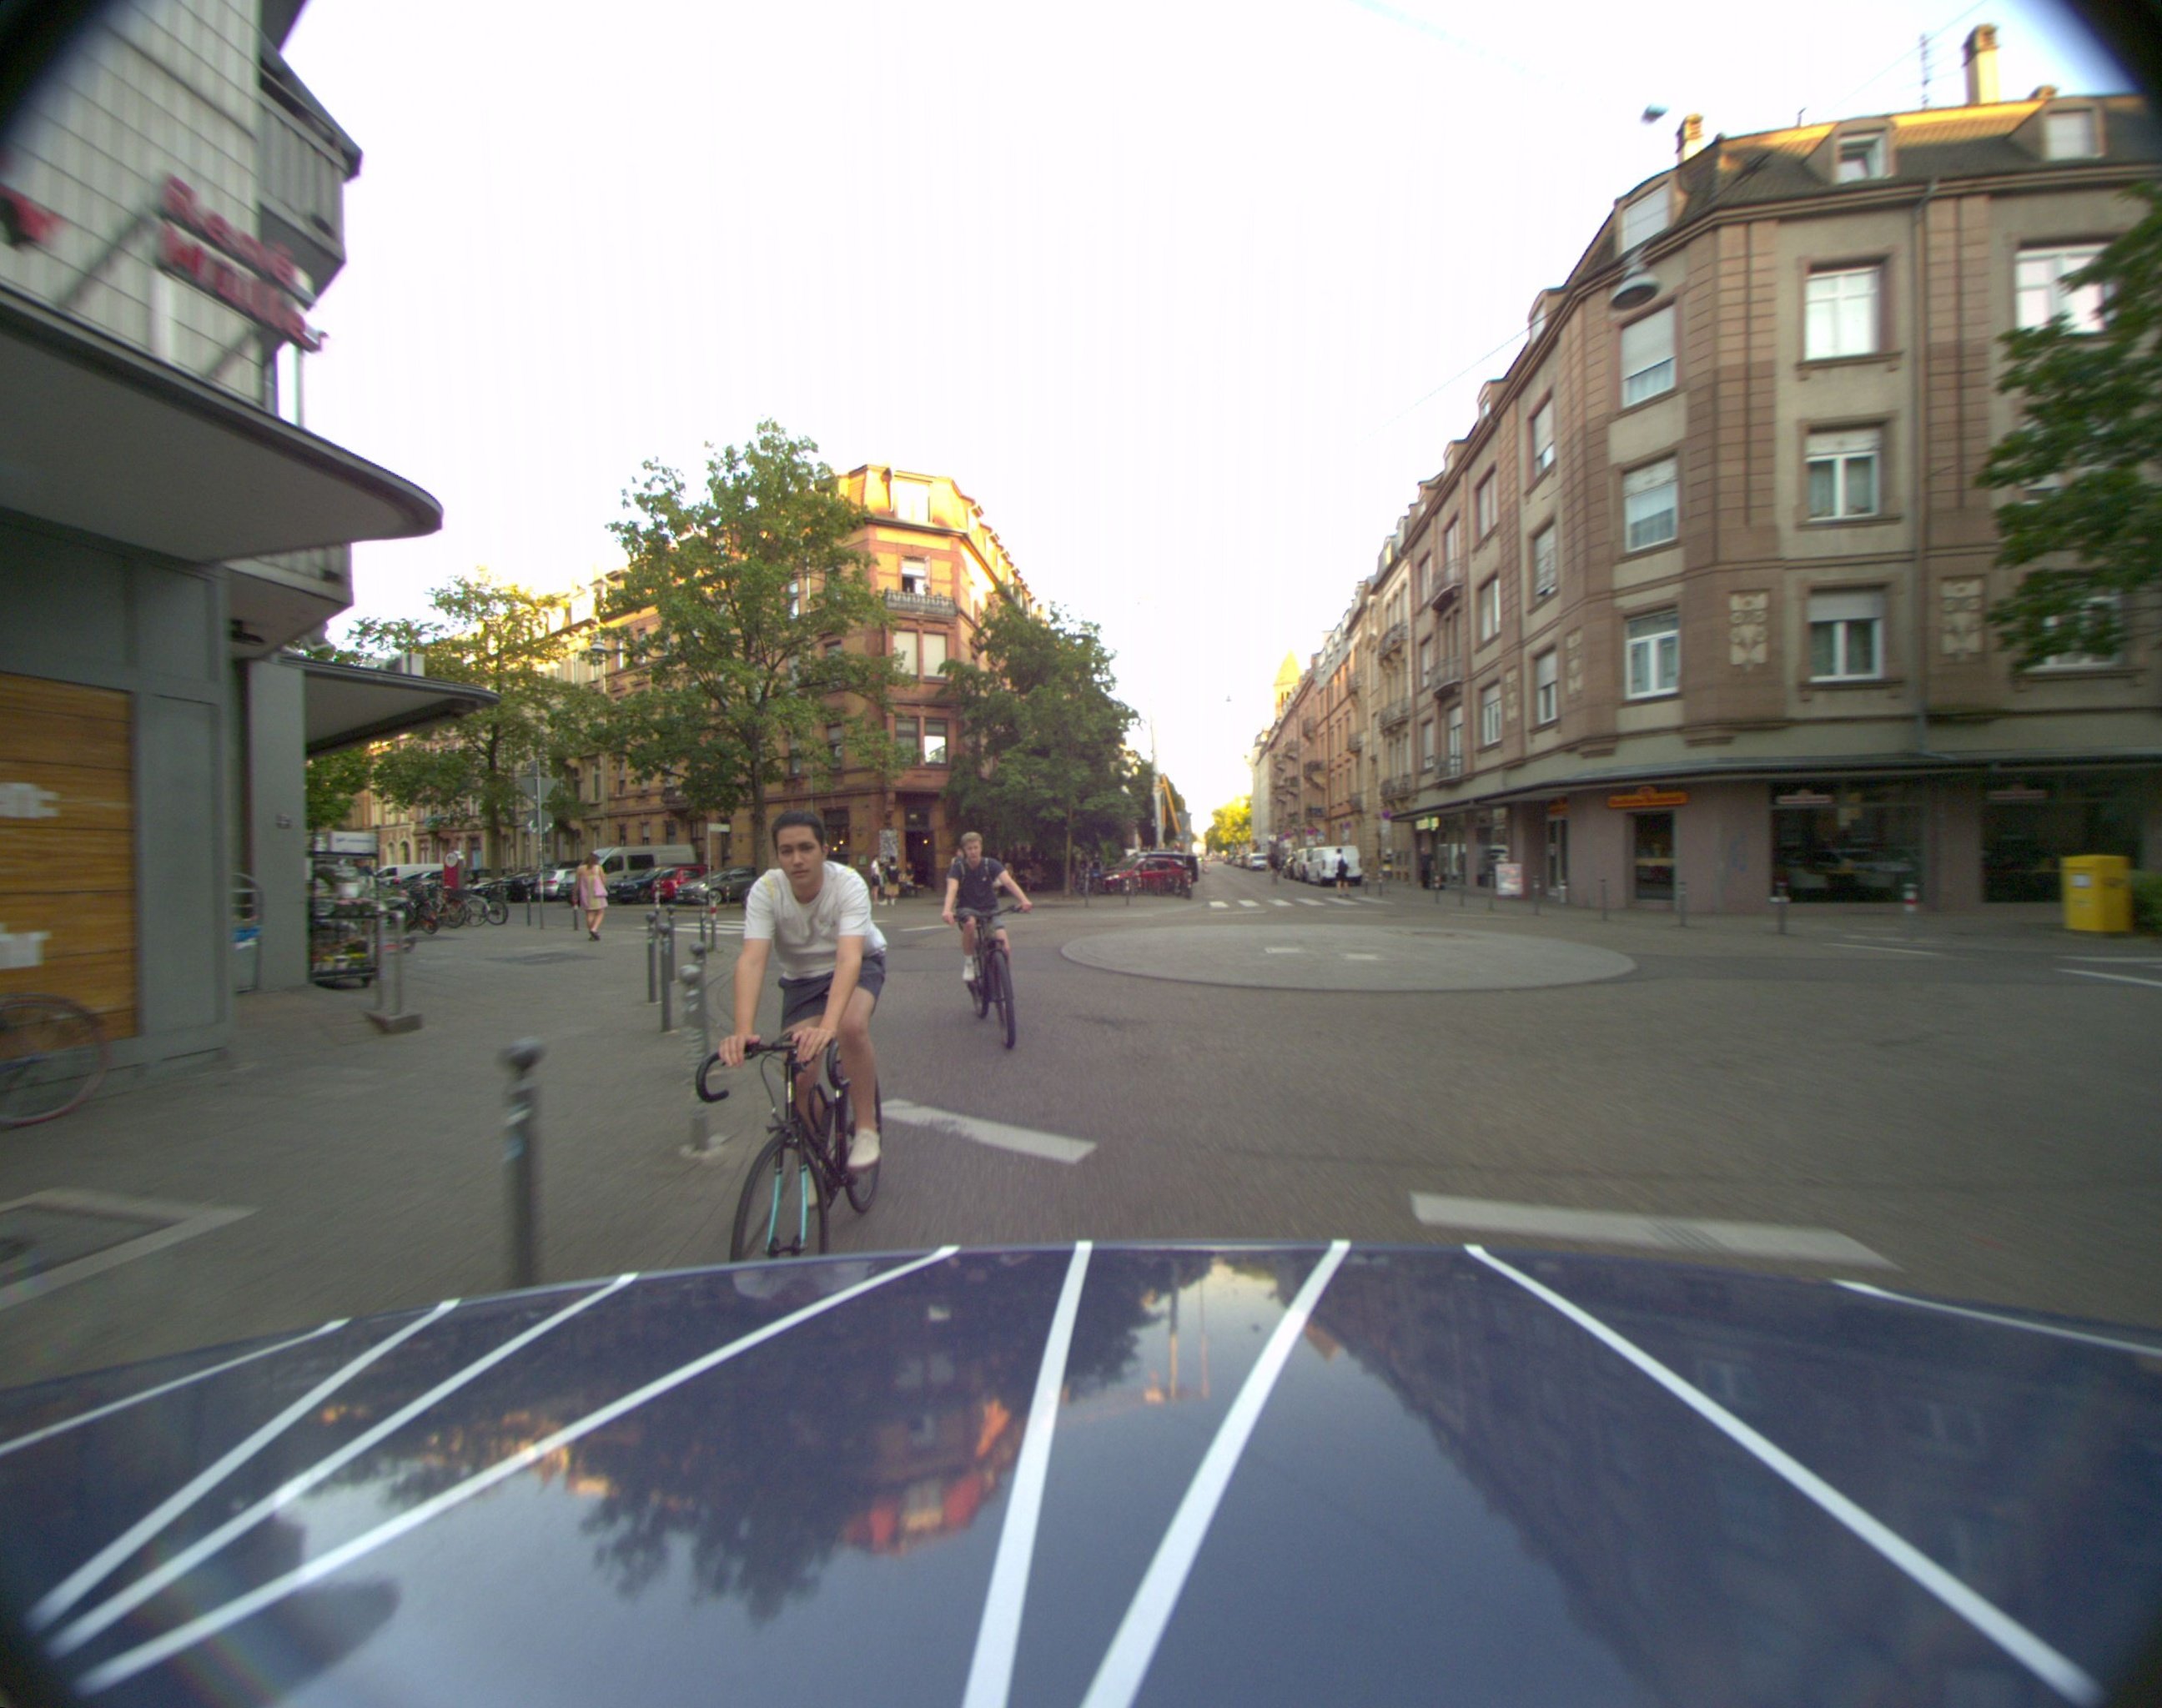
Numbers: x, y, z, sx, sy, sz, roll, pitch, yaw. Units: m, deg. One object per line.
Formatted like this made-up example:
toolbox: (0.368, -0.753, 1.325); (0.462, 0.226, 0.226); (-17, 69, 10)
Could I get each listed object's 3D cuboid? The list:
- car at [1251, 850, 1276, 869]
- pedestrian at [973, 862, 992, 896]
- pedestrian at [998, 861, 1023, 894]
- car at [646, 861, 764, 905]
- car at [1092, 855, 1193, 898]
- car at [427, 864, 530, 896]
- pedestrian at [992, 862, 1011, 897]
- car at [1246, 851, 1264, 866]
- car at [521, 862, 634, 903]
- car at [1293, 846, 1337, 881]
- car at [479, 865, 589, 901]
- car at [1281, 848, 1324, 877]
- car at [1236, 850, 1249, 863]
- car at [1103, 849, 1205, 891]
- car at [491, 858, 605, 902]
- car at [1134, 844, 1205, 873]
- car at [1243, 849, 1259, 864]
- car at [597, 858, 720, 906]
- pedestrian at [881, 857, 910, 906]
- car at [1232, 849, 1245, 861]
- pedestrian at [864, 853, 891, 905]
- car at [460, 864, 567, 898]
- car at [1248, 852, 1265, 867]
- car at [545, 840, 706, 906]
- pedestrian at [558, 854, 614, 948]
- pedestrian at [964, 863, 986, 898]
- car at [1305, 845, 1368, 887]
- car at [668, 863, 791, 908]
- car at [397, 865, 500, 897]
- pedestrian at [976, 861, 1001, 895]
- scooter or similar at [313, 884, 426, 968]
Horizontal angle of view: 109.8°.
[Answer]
car: (18.821, 0.550, 78.569); (2.139, 1.811, 4.543); (-1, 0, 9)
pedestrian: (-3.725, 0.944, 28.849); (0.675, 1.265, 0.640); (-2, 2, -7)
pedestrian: (-2.769, 0.914, 29.764); (0.676, 1.265, 0.639); (-3, 2, -43)
car: (-15.209, 1.135, 30.918); (1.623, 1.494, 3.983); (-1, 2, 33)
car: (2.715, 0.961, 33.564); (4.004, 1.658, 1.824); (-2, 2, -22)
car: (-33.062, 1.400, 41.816); (1.846, 1.528, 3.982); (-1, 1, 28)
pedestrian: (-2.968, 0.940, 28.421); (0.640, 1.265, 0.674); (-2, 2, -6)
car: (21.262, 0.521, 92.859); (1.997, 1.729, 4.003); (-1, 1, 12)
car: (-23.464, 1.268, 35.543); (1.759, 1.653, 3.983); (-1, 2, 33)
car: (13.626, 0.541, 44.513); (1.878, 1.892, 4.329); (-2, 0, 10)
car: (-27.292, 1.415, 38.031); (1.846, 1.528, 3.982); (-1, 1, 28)
car: (14.621, 0.540, 50.352); (2.139, 1.811, 4.543); (-2, 0, 9)
car: (23.975, 0.335, 112.699); (1.867, 1.729, 3.802); (-1, 1, 12)
car: (4.002, 0.837, 41.845); (5.150, 2.085, 2.114); (-2, 1, -16)
car: (-25.353, 1.199, 36.260); (1.846, 1.814, 3.983); (-1, 2, 33)
car: (7.207, 0.350, 61.877); (5.150, 2.182, 2.335); (-2, 1, -16)
car: (21.850, 0.326, 97.856); (1.997, 1.729, 4.003); (-1, 1, 12)
car: (-17.391, 1.113, 31.464); (1.759, 1.653, 3.982); (-1, 2, 33)
pedestrian: (-6.300, 0.926, 25.773); (0.642, 1.628, 0.673); (-3, 2, -45)
car: (24.507, 0.170, 118.520); (1.907, 1.729, 3.852); (-1, 1, 12)
pedestrian: (-6.985, 0.862, 26.101); (0.674, 1.735, 0.640); (-2, 2, 0)
car: (-29.345, 1.360, 39.398); (1.846, 1.528, 3.982); (-1, 1, 28)
car: (20.529, 0.607, 88.843); (1.838, 1.633, 3.928); (-1, 1, 12)
car: (-19.539, 0.738, 32.904); (2.115, 2.443, 5.497); (-1, 2, 31)
pedestrian: (-9.465, 0.880, 14.546); (0.694, 1.735, 0.712); (0, 0, -14)
pedestrian: (-3.947, 0.971, 28.252); (0.675, 1.265, 0.639); (-2, 2, -19)
car: (12.860, 0.545, 38.563); (2.140, 1.946, 4.772); (-2, 0, 7)
car: (-13.411, 1.162, 29.213); (1.623, 1.412, 3.983); (-1, 2, 33)
car: (-35.232, 1.453, 42.436); (1.846, 1.528, 3.982); (-1, 1, 28)
pedestrian: (-3.604, 0.932, 29.684); (0.673, 1.265, 0.642); (-1, 2, 35)
scooter or similar: (-11.197, 1.099, 11.994); (0.415, 1.225, 1.234); (0, 0, 24)
